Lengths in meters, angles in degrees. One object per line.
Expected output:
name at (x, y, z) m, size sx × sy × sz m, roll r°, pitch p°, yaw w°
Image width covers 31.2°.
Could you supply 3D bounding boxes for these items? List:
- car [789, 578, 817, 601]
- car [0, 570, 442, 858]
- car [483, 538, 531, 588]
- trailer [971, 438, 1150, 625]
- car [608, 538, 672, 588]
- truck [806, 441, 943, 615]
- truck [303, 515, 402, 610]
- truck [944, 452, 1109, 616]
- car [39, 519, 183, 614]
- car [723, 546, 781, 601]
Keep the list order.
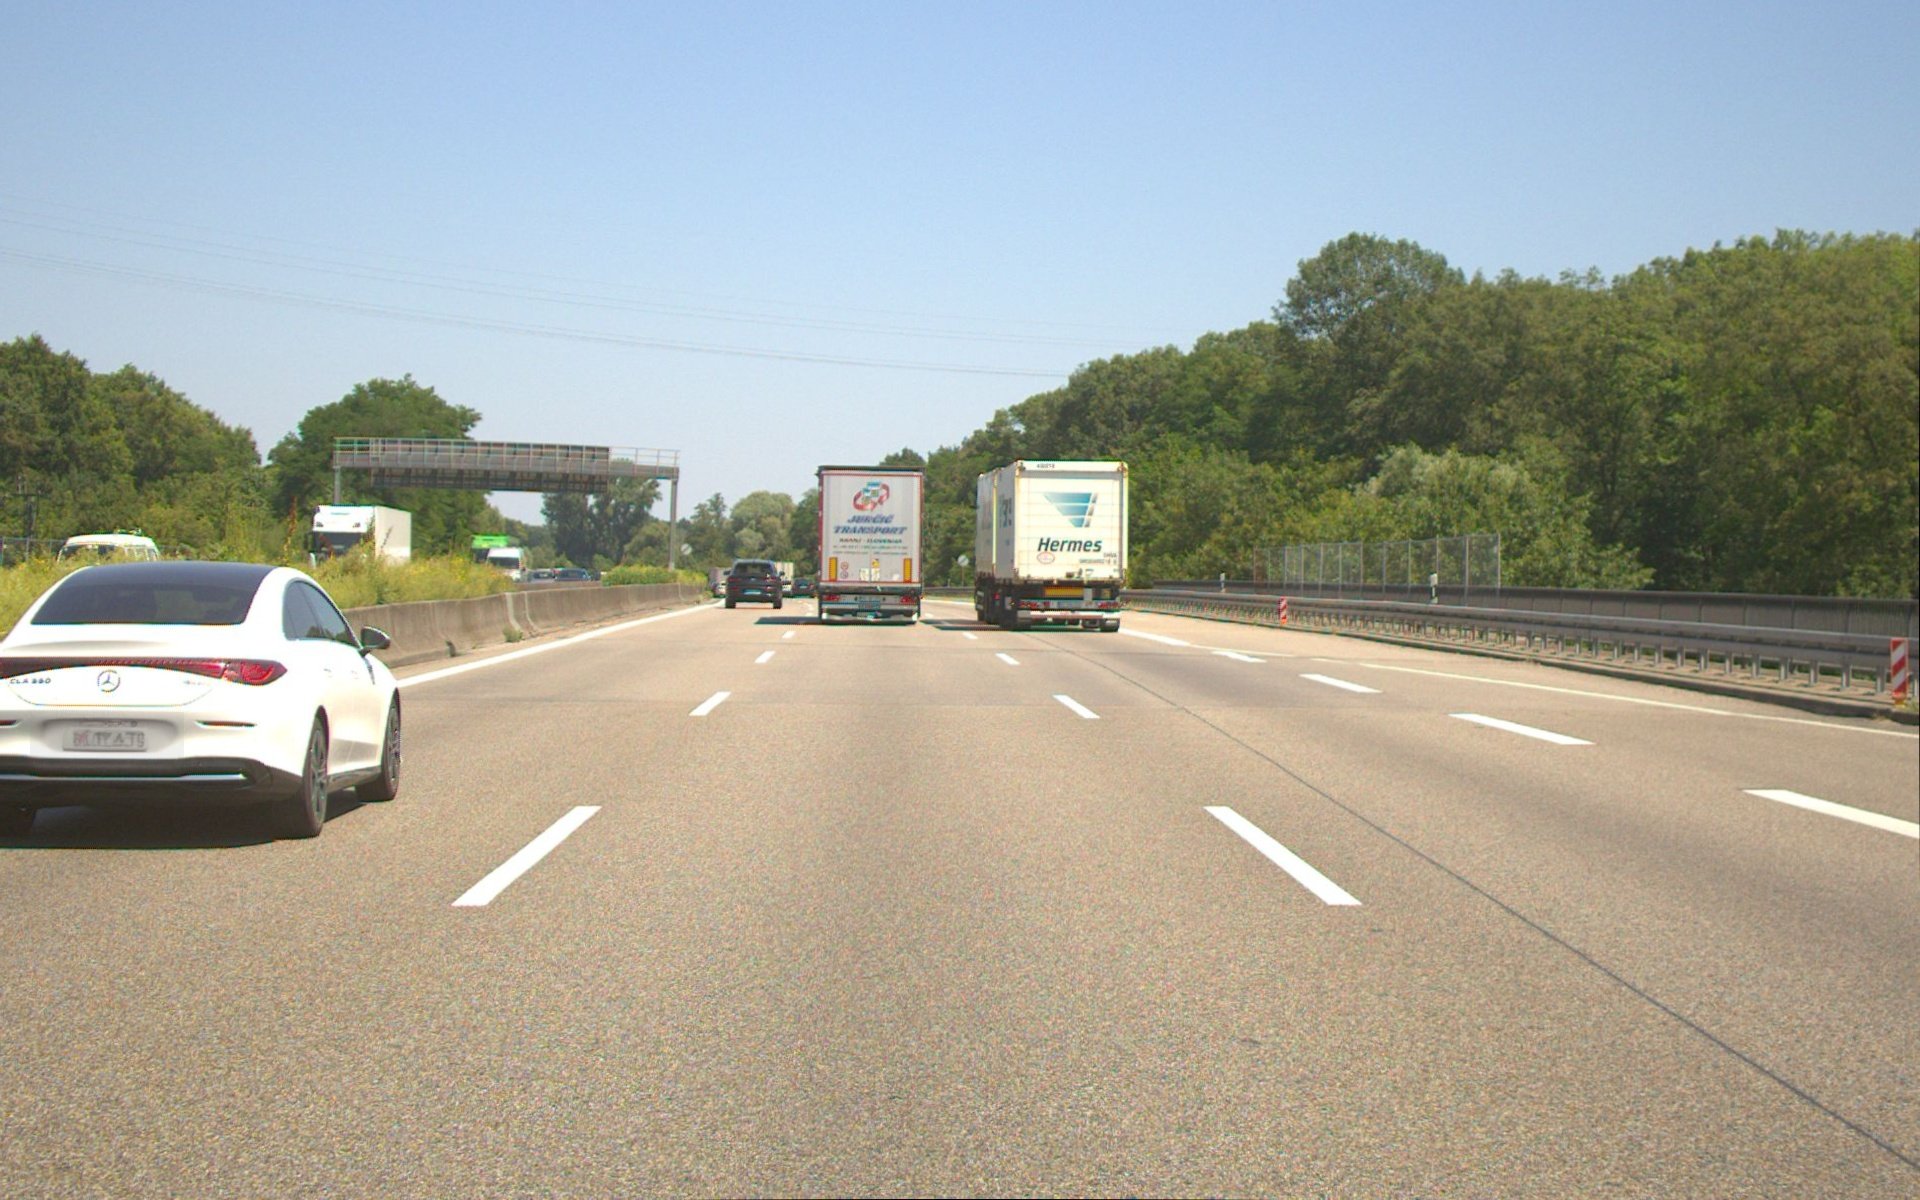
car at (-11.750, -0.798, 256.909) m, size 1.993 × 1.590 × 4.001 m, roll 1°, pitch 2°, yaw -4°
car at (-4.277, 0.572, 20.490) m, size 1.766 × 1.443 × 5.109 m, roll 0°, pitch 1°, yaw -2°
car at (-24.168, -1.973, 183.472) m, size 1.993 × 2.559 × 6.129 m, roll 1°, pitch 1°, yaw -3°
trailer at (2.265, -1.665, 81.170) m, size 3.367 × 4.128 × 9.093 m, roll 1°, pitch 2°, yaw -3°
car at (-13.279, -1.554, 142.950) m, size 2.292 × 2.007 × 4.711 m, roll 0°, pitch 1°, yaw -1°
truck at (-2.268, -1.867, 87.678) m, size 3.229 × 4.187 × 8.467 m, roll 1°, pitch 2°, yaw -3°
truck at (-26.179, -1.647, 148.493) m, size 3.048 × 3.963 × 8.288 m, roll 1°, pitch 1°, yaw -2°
truck at (1.632, -1.811, 90.925) m, size 3.325 × 4.039 × 10.956 m, roll 1°, pitch 2°, yaw -4°
car at (-19.153, -0.771, 77.802) m, size 2.124 × 2.075 × 4.971 m, roll 0°, pitch 1°, yaw -1°
car at (-7.467, -0.968, 122.932) m, size 1.993 × 1.867 × 4.001 m, roll 1°, pitch 2°, yaw -4°
